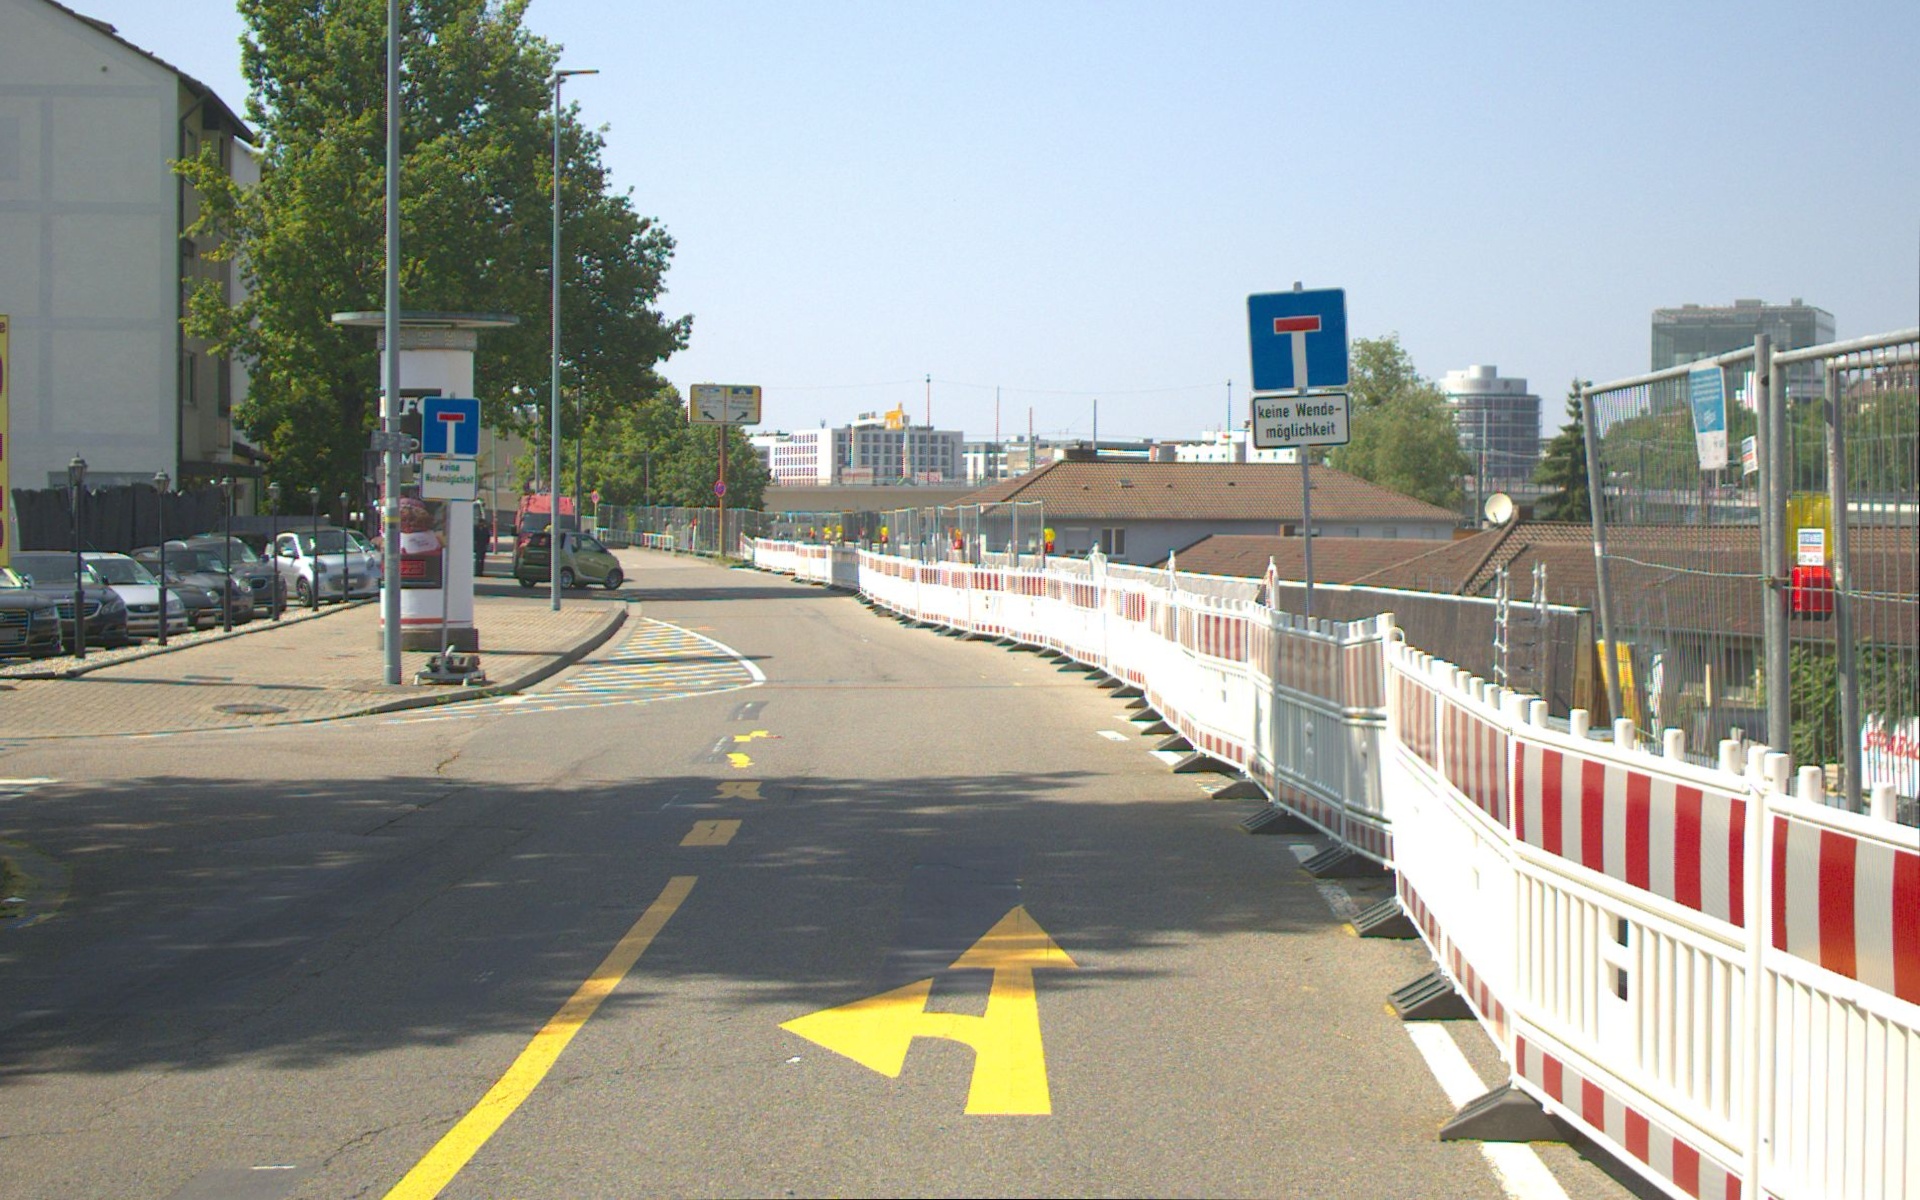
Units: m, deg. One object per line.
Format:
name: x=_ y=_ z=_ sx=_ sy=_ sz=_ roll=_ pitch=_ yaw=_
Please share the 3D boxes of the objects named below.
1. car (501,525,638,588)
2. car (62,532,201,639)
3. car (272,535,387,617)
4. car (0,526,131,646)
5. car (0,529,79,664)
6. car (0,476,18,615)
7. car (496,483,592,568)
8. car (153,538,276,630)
car: x=-10.465 y=-1.165 z=92.232 sx=3.272 sy=1.632 sz=1.725 roll=1 pitch=0 yaw=-44
car: x=-13.144 y=-0.258 z=54.409 sx=1.856 sy=1.623 sz=4.001 roll=0 pitch=1 yaw=-17
car: x=-13.076 y=-0.519 z=71.139 sx=1.856 sy=1.623 sz=4.001 roll=0 pitch=1 yaw=-17
car: x=-12.866 y=-0.224 z=48.812 sx=1.856 sy=1.623 sz=4.001 roll=0 pitch=1 yaw=-17
car: x=-12.156 y=-0.079 z=43.261 sx=1.856 sy=1.623 sz=4.001 roll=0 pitch=1 yaw=-17
car: x=-16.753 y=-0.890 z=55.449 sx=2.135 sy=2.276 sz=4.712 roll=0 pitch=1 yaw=-4
car: x=-12.803 y=-2.259 z=106.091 sx=2.537 sy=2.511 sz=5.118 roll=1 pitch=0 yaw=-3
car: x=-13.725 y=-0.314 z=63.154 sx=1.856 sy=1.623 sz=4.001 roll=0 pitch=1 yaw=-17
